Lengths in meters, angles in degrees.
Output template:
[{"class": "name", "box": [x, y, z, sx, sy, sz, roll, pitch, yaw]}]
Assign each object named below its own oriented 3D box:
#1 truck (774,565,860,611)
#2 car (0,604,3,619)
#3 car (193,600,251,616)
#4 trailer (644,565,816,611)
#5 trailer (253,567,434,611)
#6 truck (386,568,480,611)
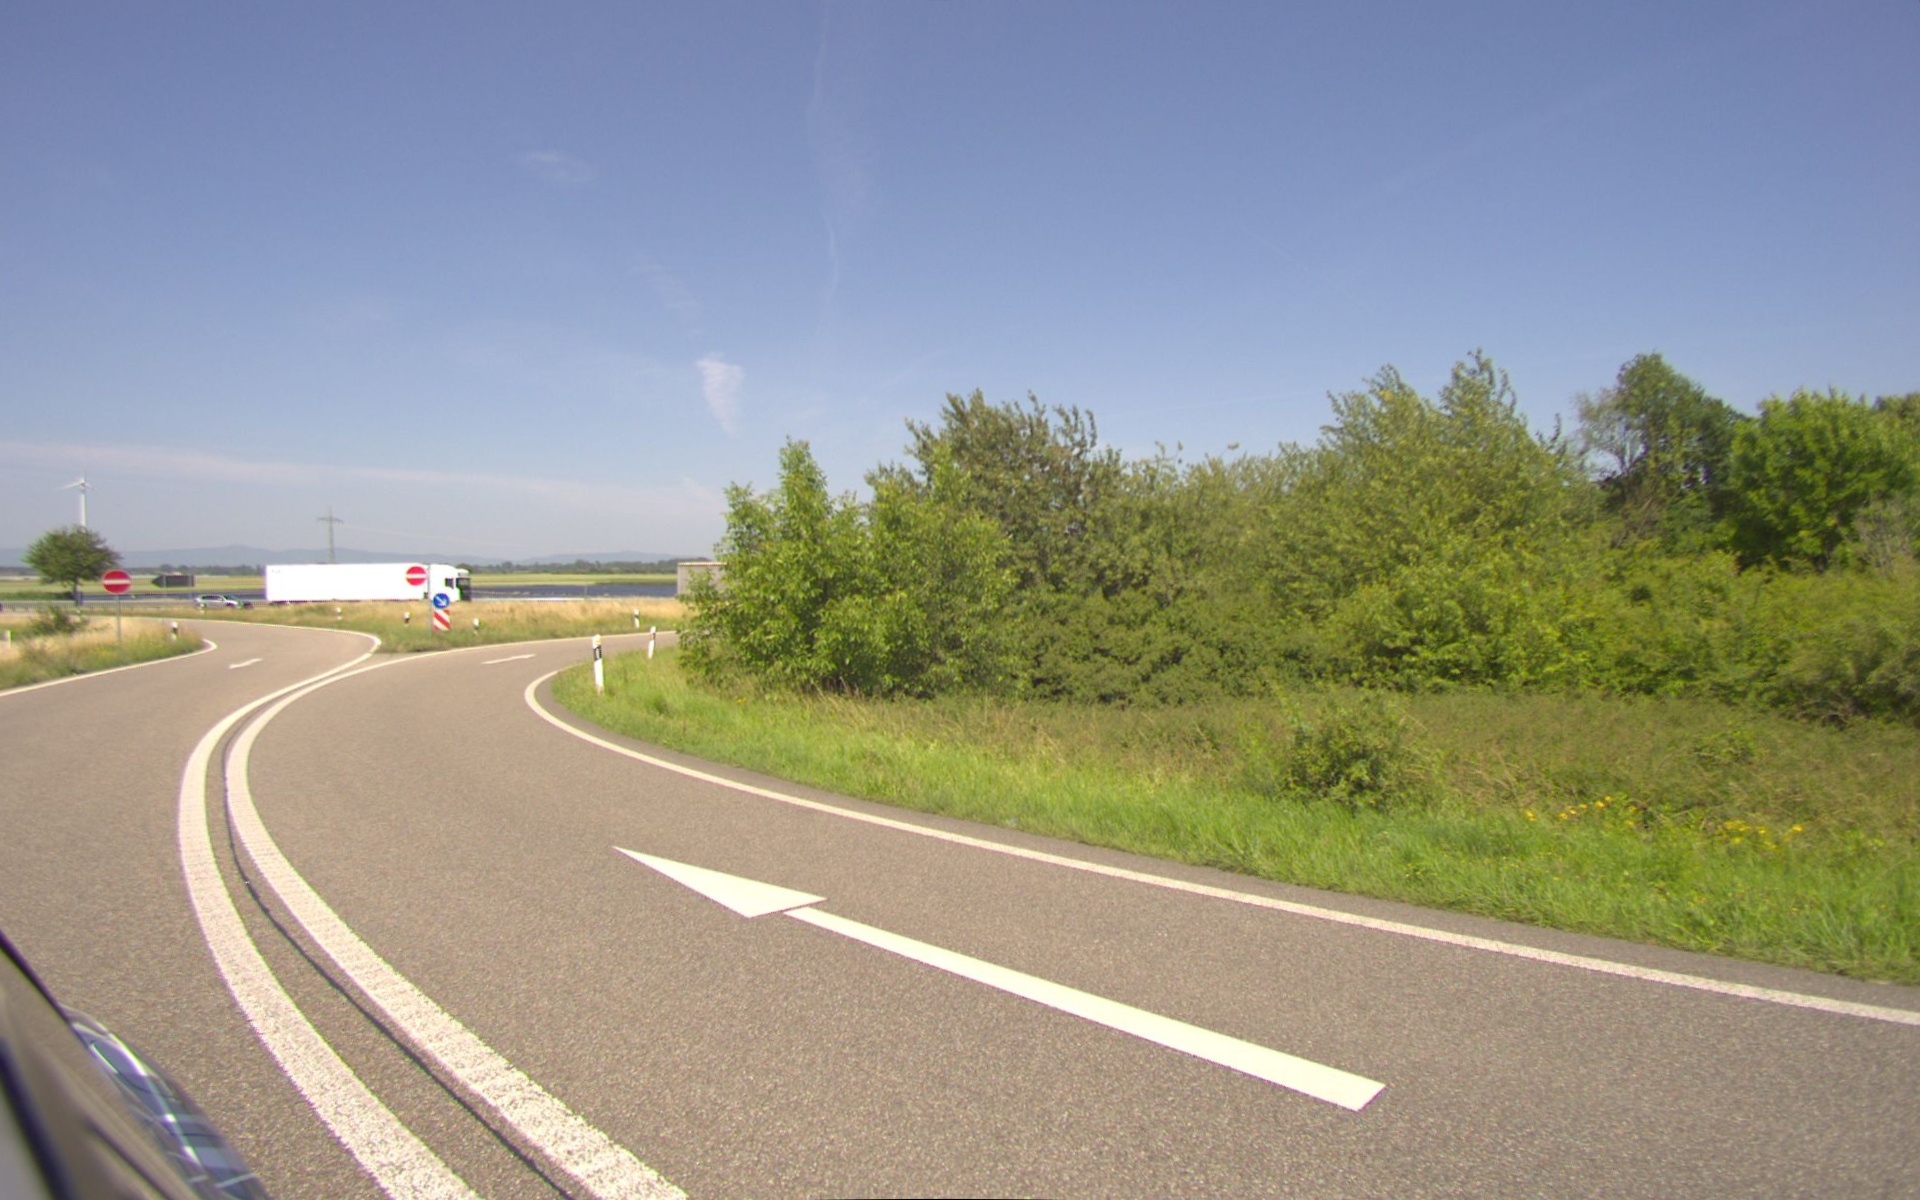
[{"class": "truck", "box": [-11.703, -0.974, 83.051, 6.546, 3.693, 3.111, 0, 0, 5]}, {"class": "car", "box": [-89.052, 1.042, 91.311, 3.947, 1.364, 1.680, 0, 0, 3]}, {"class": "car", "box": [-64.990, 0.662, 89.169, 3.945, 1.364, 1.681, 0, 0, 2]}, {"class": "trailer", "box": [-18.954, -0.971, 83.701, 13.628, 3.671, 3.099, 0, 0, 5]}, {"class": "trailer", "box": [-51.683, -0.907, 85.051, 13.469, 3.671, 3.101, 0, 0, 2]}, {"class": "truck", "box": [-44.097, -0.881, 84.810, 6.366, 3.544, 3.114, 0, 0, 1]}]
